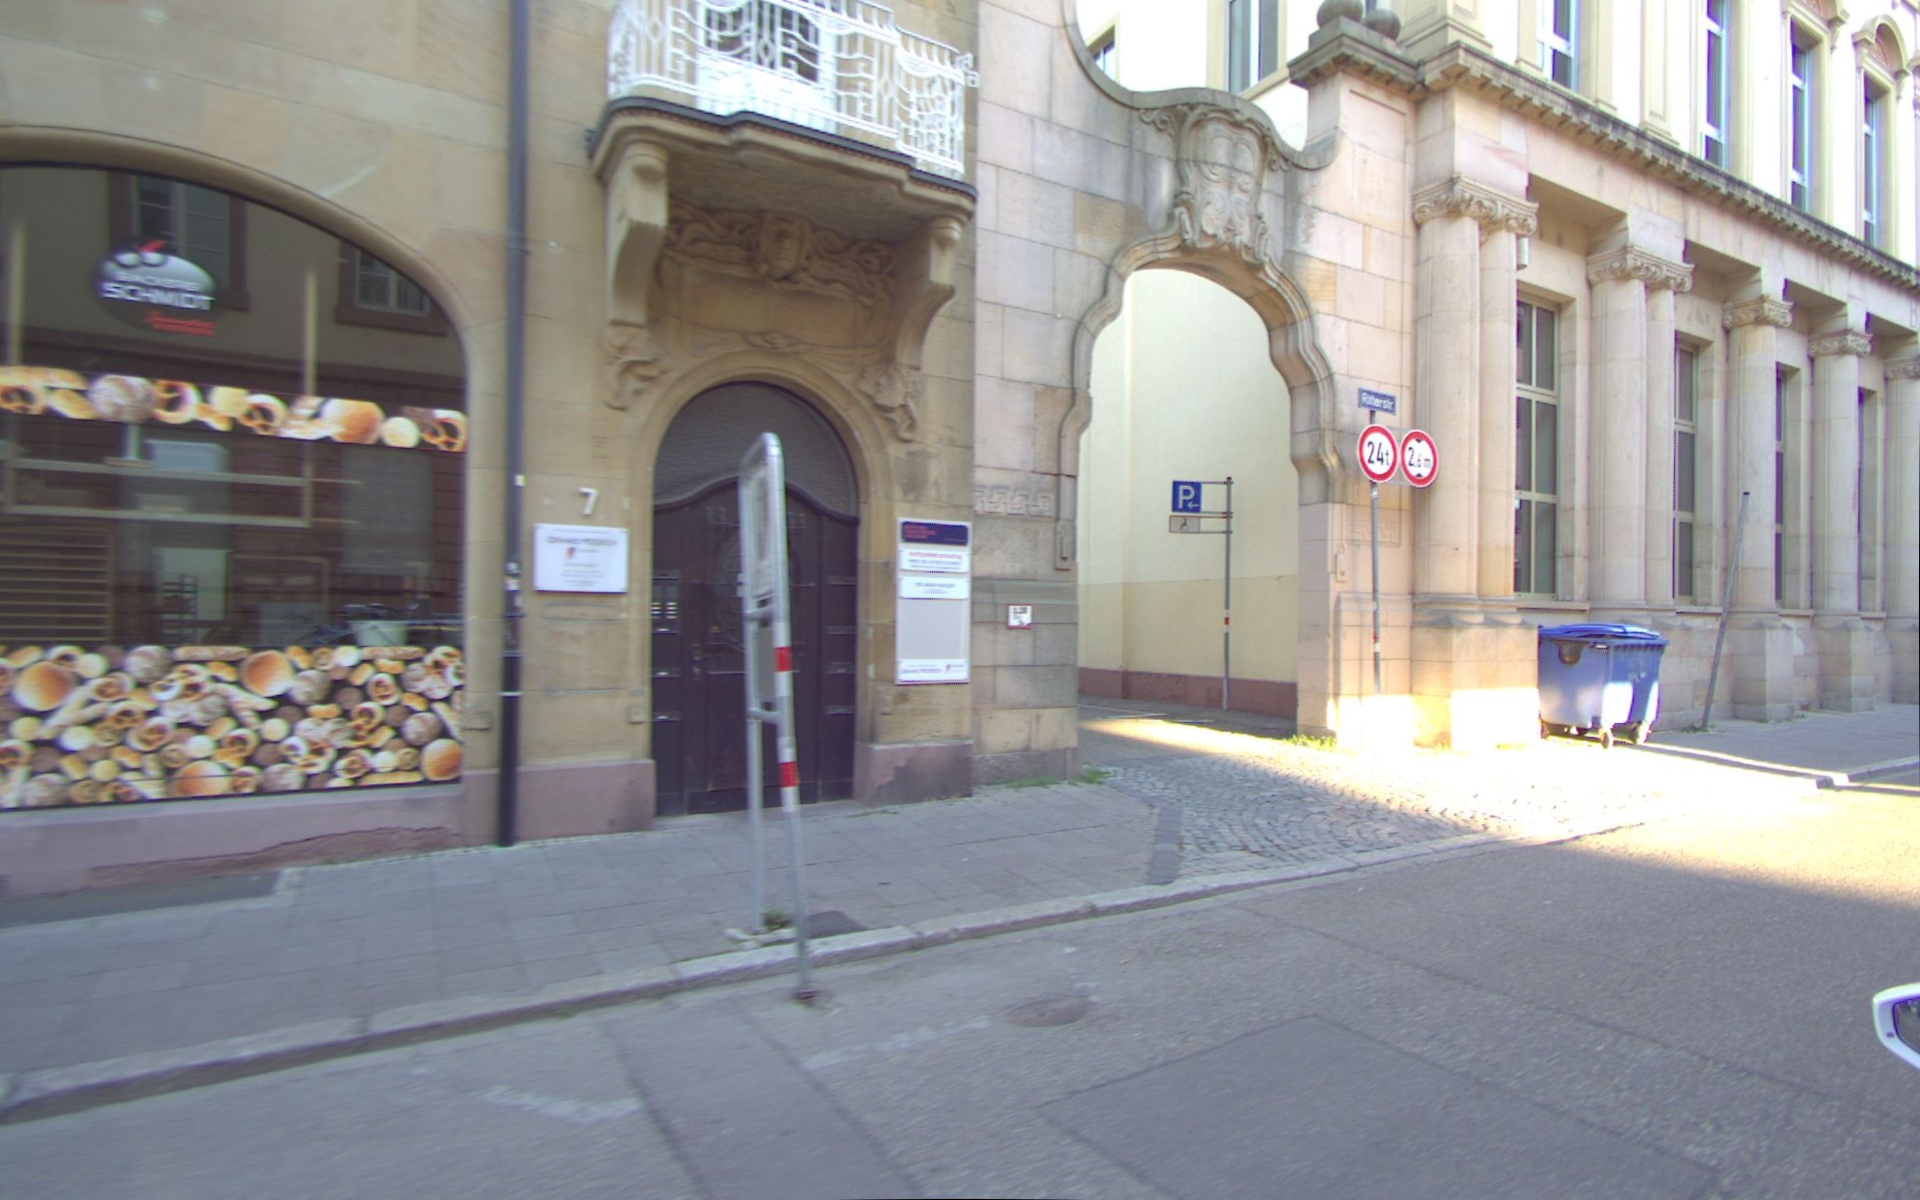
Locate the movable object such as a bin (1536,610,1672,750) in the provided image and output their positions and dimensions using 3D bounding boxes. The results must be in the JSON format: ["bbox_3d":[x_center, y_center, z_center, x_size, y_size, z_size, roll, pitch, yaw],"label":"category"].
[{"bbox_3d":[7.461,0.882,11.641,1.276,1.523,0.825,1,0,-30],"label":"movable object such as a bin"}]
